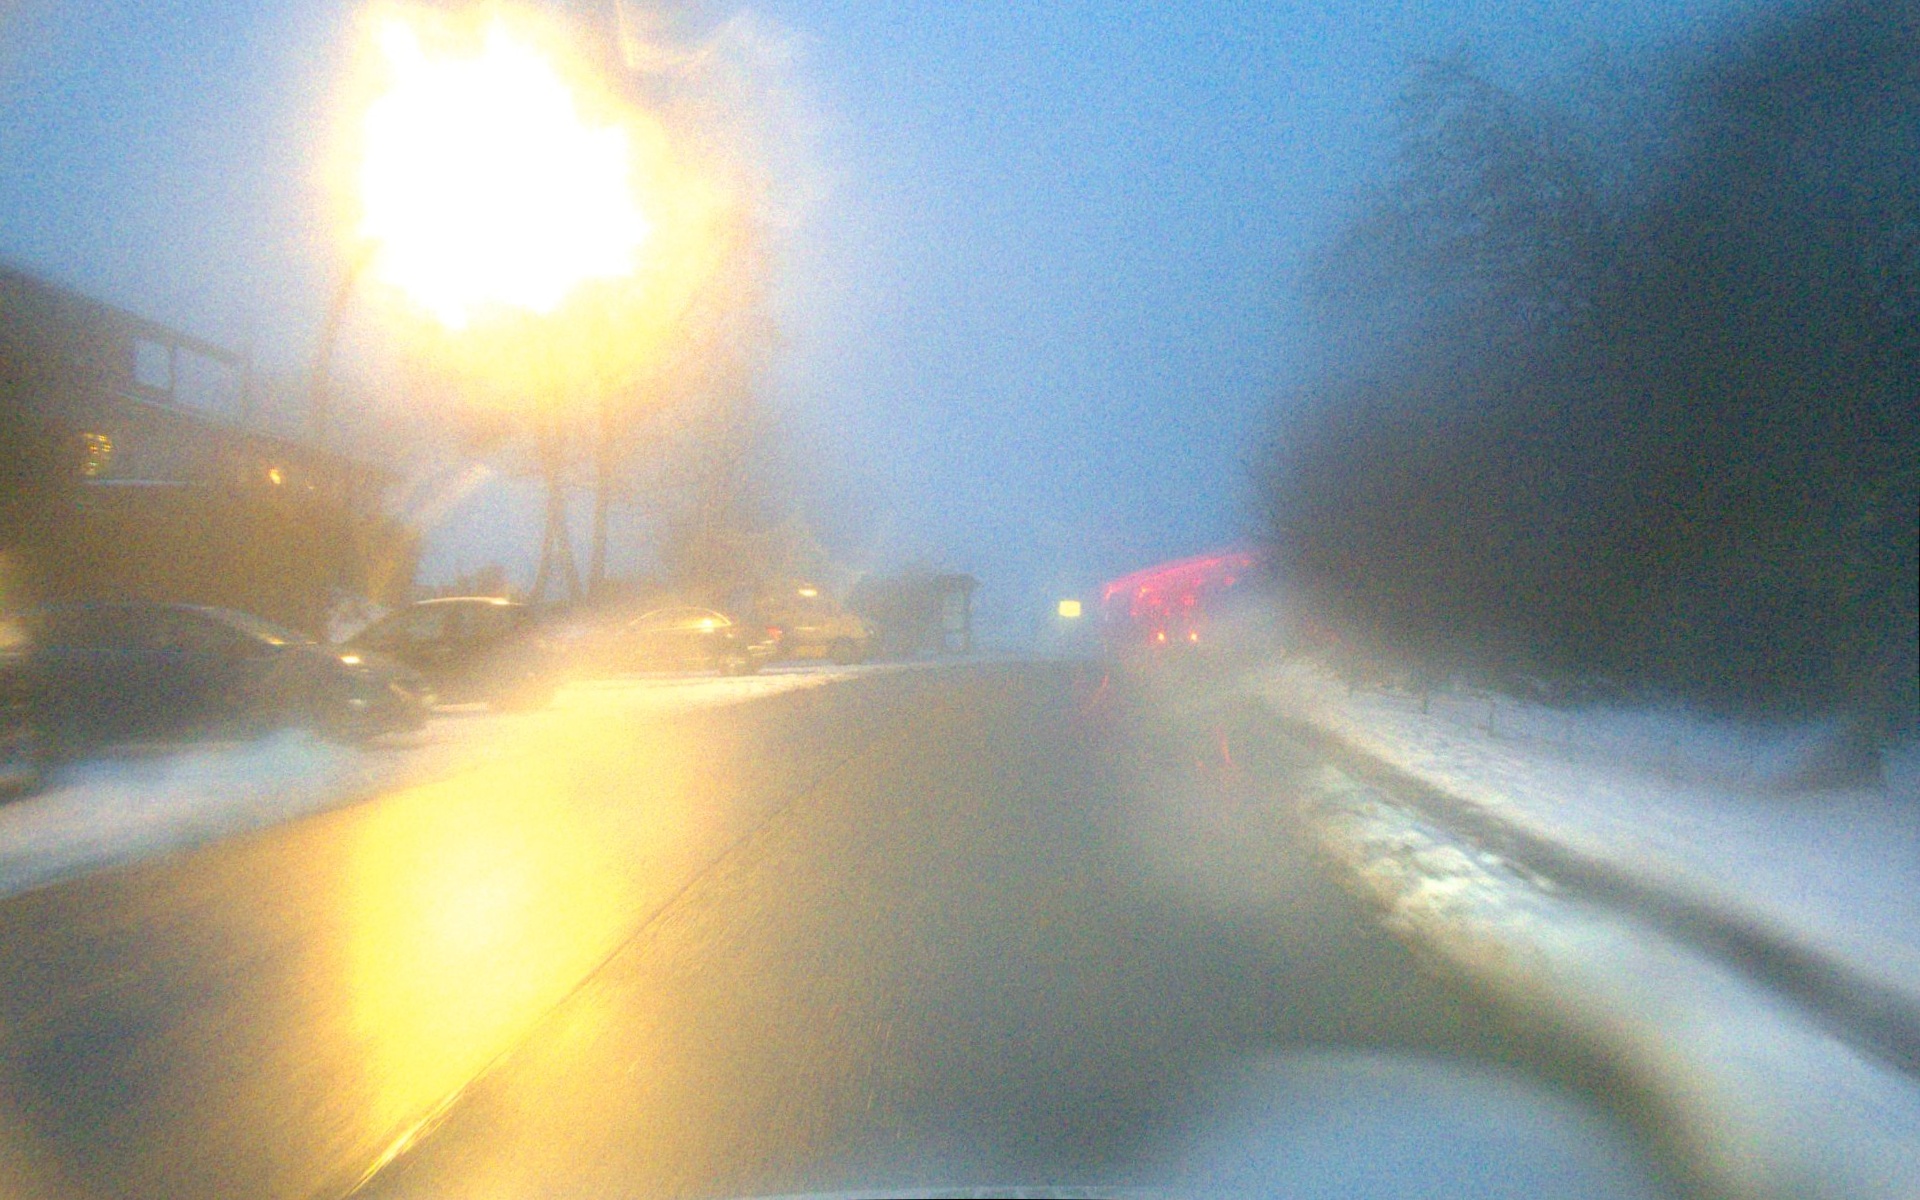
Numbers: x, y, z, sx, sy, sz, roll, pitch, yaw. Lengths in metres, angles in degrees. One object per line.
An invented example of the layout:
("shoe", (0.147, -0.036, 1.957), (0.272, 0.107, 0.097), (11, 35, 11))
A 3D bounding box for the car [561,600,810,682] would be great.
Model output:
("car", (-5.708, 0.849, 34.838), (4.785, 1.511, 2.124), (-2, -1, 2))

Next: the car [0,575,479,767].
("car", (-7.067, 0.638, 15.706), (4.440, 1.593, 2.108), (-2, 0, -6))

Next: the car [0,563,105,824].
("car", (-6.847, 0.611, 9.935), (1.961, 1.593, 4.976), (-3, 0, -15))

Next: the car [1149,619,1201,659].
("car", (8.520, 1.531, 65.453), (1.951, 1.445, 4.003), (1, 0, 7))

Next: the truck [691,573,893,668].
("truck", (-4.472, 0.545, 44.592), (5.152, 2.343, 2.000), (-2, -1, 1))

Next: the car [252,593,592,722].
("car", (-6.897, 0.721, 21.530), (3.776, 1.497, 1.938), (-2, 0, -2))
